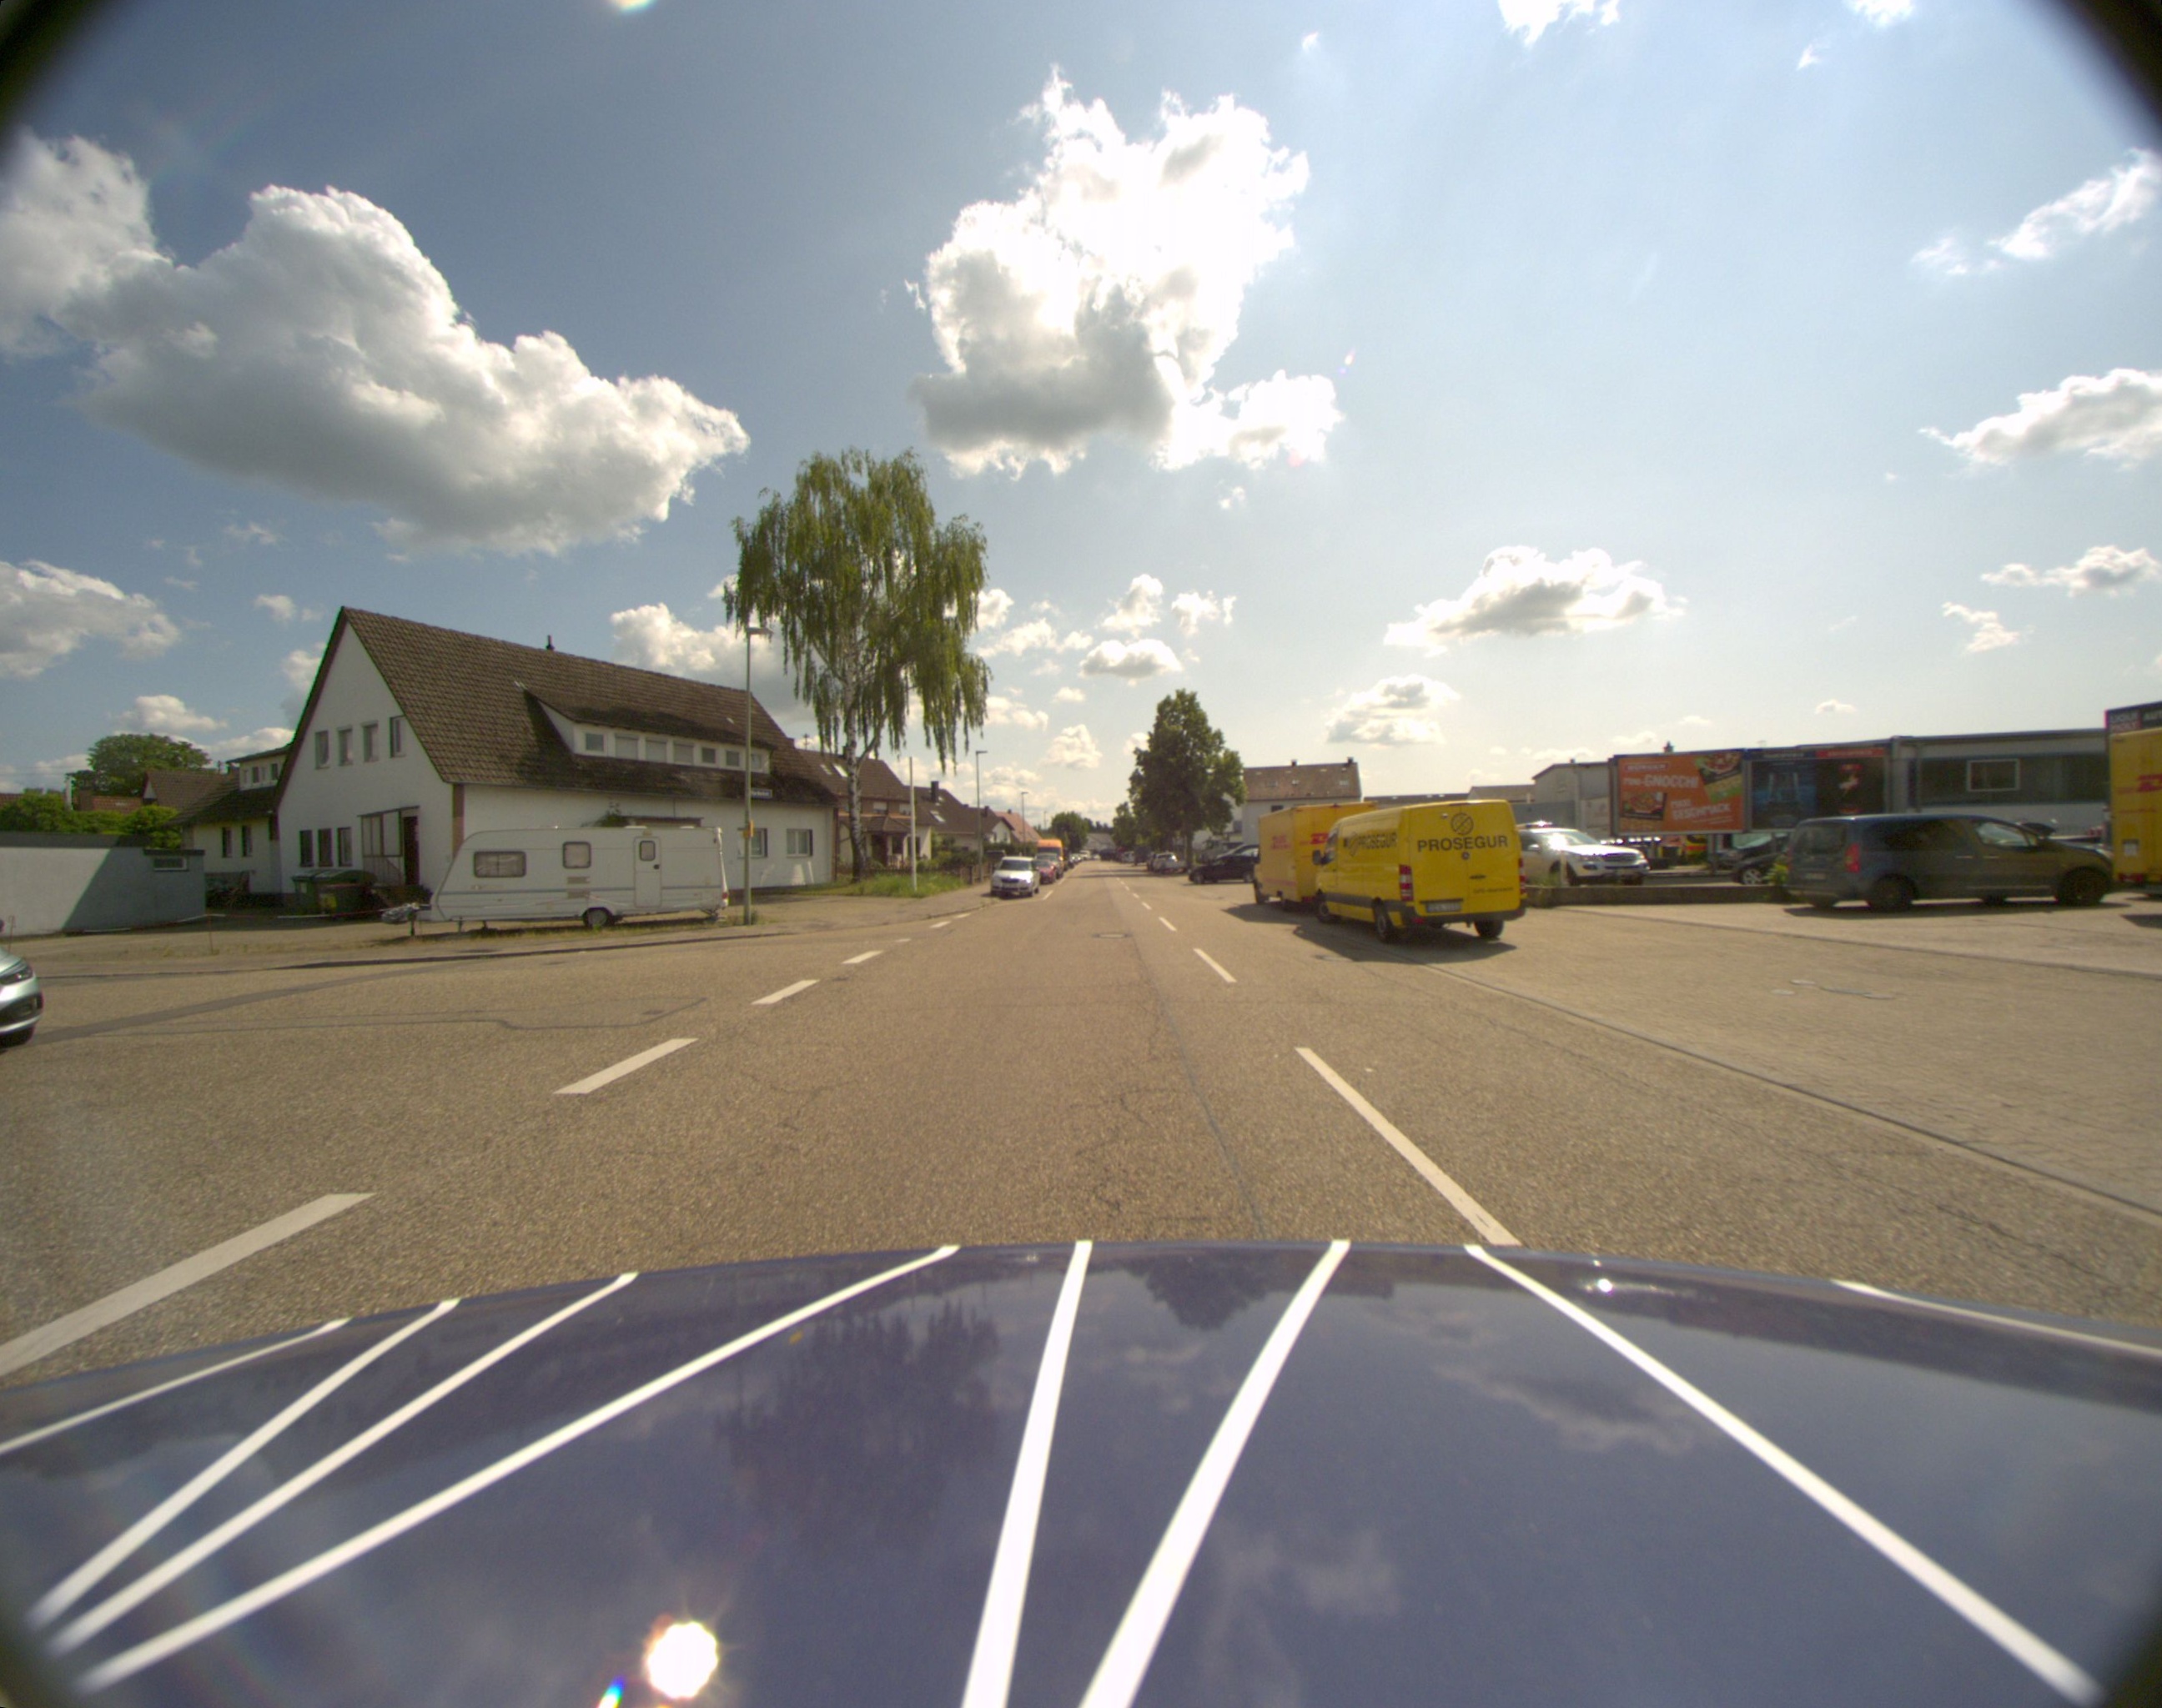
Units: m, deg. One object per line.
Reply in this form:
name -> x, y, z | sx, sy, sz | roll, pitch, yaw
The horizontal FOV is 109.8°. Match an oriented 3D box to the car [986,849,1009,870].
car -> -7.778, 0.437, 70.997 | 1.862, 1.855, 5.018 | -1, 0, -4

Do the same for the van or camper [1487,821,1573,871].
van or camper -> 23.632, -0.375, 40.262 | 1.997, 2.460, 5.365 | -1, 0, 9

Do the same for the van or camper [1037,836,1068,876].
van or camper -> -1.981, 0.140, 53.962 | 1.999, 2.648, 5.768 | -1, 0, -1

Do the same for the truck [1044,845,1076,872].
truck -> -1.888, 0.371, 71.144 | 2.528, 2.286, 5.895 | -3, 0, 1

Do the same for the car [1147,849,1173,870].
car -> 6.742, 0.434, 65.228 | 1.697, 1.690, 4.400 | -4, 0, 1

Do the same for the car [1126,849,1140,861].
car -> 8.413, 0.102, 122.893 | 1.814, 1.795, 4.491 | -5, 0, 0

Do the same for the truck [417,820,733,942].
truck -> -11.948, 0.529, 18.714 | 6.067, 2.562, 2.561 | -2, 1, -25

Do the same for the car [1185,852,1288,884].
car -> 7.810, 0.699, 38.335 | 4.581, 1.387, 2.004 | -3, 1, 35

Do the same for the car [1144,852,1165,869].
car -> 6.785, 0.602, 70.743 | 1.703, 1.475, 4.159 | -2, 0, 2

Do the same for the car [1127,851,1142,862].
car -> 8.257, 0.357, 116.935 | 1.753, 1.452, 4.708 | -5, -1, -1

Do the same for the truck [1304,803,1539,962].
truck -> 6.113, 0.415, 14.677 | 1.998, 2.400, 6.064 | -1, 0, 2

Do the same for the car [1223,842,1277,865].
car -> 13.958, -0.051, 62.897 | 4.153, 1.778, 1.827 | -1, 1, 4

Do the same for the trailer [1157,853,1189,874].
trailer -> 6.678, 0.651, 55.394 | 1.766, 1.282, 4.508 | -5, 0, 1

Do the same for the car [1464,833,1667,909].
car -> 12.231, 0.371, 19.639 | 1.834, 1.695, 4.704 | -1, 0, -8

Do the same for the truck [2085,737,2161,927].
truck -> 19.229, -0.508, 10.291 | 6.608, 2.833, 2.531 | -3, 0, 14

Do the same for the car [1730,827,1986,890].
car -> 18.495, 0.175, 18.376 | 1.676, 1.280, 4.006 | -2, -3, -12

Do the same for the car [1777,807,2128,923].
car -> 15.886, 0.207, 14.107 | 3.935, 1.799, 1.857 | -3, 0, 11

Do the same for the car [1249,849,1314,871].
car -> 13.481, 0.418, 51.296 | 4.034, 1.366, 1.827 | -1, 1, 6

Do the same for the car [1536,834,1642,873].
car -> 18.139, 0.013, 27.342 | 1.895, 1.282, 3.754 | -1, -1, 13

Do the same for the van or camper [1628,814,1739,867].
van or camper -> 30.370, -0.608, 38.558 | 1.997, 2.460, 5.365 | -1, 0, 9

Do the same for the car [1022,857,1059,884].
car -> -2.171, 0.867, 41.576 | 1.673, 1.327, 4.437 | -2, 0, 1

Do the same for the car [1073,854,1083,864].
car -> -0.639, 0.916, 146.747 | 1.896, 1.763, 4.708 | -1, 0, 0

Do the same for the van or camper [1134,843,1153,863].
van or camper -> 7.661, -0.159, 93.399 | 1.998, 2.303, 5.934 | -4, 0, 3

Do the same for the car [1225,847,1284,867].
car -> 13.252, 0.219, 58.174 | 4.153, 1.422, 1.827 | -1, 1, 4

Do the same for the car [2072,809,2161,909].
car -> 20.598, 0.055, 13.248 | 3.848, 1.721, 1.734 | -1, 1, 12

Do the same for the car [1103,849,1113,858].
car -> 5.717, -0.126, 160.232 | 2.056, 2.022, 5.141 | 0, 1, 1

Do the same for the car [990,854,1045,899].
car -> -2.479, 0.860, 30.452 | 1.614, 1.571, 4.000 | -3, 0, 3

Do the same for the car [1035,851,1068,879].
car -> -1.861, 0.652, 48.573 | 1.837, 1.630, 4.239 | -1, 0, 1

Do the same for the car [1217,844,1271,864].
car -> 14.118, 0.024, 65.870 | 4.305, 1.605, 1.827 | -1, 0, 0

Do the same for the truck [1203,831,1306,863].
truck -> 16.457, -0.659, 72.451 | 9.277, 2.839, 2.721 | -1, 0, 5

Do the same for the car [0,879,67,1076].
car -> -12.003, 1.194, 6.975 | 4.400, 1.743, 1.866 | -1, 3, 19

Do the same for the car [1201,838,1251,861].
car -> 15.322, -0.452, 80.363 | 5.008, 2.219, 2.001 | -1, 2, 14

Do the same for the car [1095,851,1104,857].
car -> 4.663, 0.047, 191.212 | 1.818, 1.513, 4.268 | 0, 0, 9

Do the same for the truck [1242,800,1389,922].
truck -> 6.411, 0.147, 21.876 | 2.225, 2.840, 7.069 | -3, 0, 3

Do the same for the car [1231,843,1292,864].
car -> 13.187, -0.054, 55.694 | 4.153, 1.481, 1.827 | -1, 1, 4

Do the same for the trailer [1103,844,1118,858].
trailer -> 6.949, -0.753, 180.666 | 2.842, 3.051, 8.887 | -1, 0, -1

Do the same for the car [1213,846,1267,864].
car -> 14.263, 0.093, 68.240 | 4.535, 1.573, 1.828 | 0, 0, 3

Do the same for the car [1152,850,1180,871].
car -> 6.706, 0.503, 60.047 | 1.837, 1.519, 4.237 | -3, 0, 3
